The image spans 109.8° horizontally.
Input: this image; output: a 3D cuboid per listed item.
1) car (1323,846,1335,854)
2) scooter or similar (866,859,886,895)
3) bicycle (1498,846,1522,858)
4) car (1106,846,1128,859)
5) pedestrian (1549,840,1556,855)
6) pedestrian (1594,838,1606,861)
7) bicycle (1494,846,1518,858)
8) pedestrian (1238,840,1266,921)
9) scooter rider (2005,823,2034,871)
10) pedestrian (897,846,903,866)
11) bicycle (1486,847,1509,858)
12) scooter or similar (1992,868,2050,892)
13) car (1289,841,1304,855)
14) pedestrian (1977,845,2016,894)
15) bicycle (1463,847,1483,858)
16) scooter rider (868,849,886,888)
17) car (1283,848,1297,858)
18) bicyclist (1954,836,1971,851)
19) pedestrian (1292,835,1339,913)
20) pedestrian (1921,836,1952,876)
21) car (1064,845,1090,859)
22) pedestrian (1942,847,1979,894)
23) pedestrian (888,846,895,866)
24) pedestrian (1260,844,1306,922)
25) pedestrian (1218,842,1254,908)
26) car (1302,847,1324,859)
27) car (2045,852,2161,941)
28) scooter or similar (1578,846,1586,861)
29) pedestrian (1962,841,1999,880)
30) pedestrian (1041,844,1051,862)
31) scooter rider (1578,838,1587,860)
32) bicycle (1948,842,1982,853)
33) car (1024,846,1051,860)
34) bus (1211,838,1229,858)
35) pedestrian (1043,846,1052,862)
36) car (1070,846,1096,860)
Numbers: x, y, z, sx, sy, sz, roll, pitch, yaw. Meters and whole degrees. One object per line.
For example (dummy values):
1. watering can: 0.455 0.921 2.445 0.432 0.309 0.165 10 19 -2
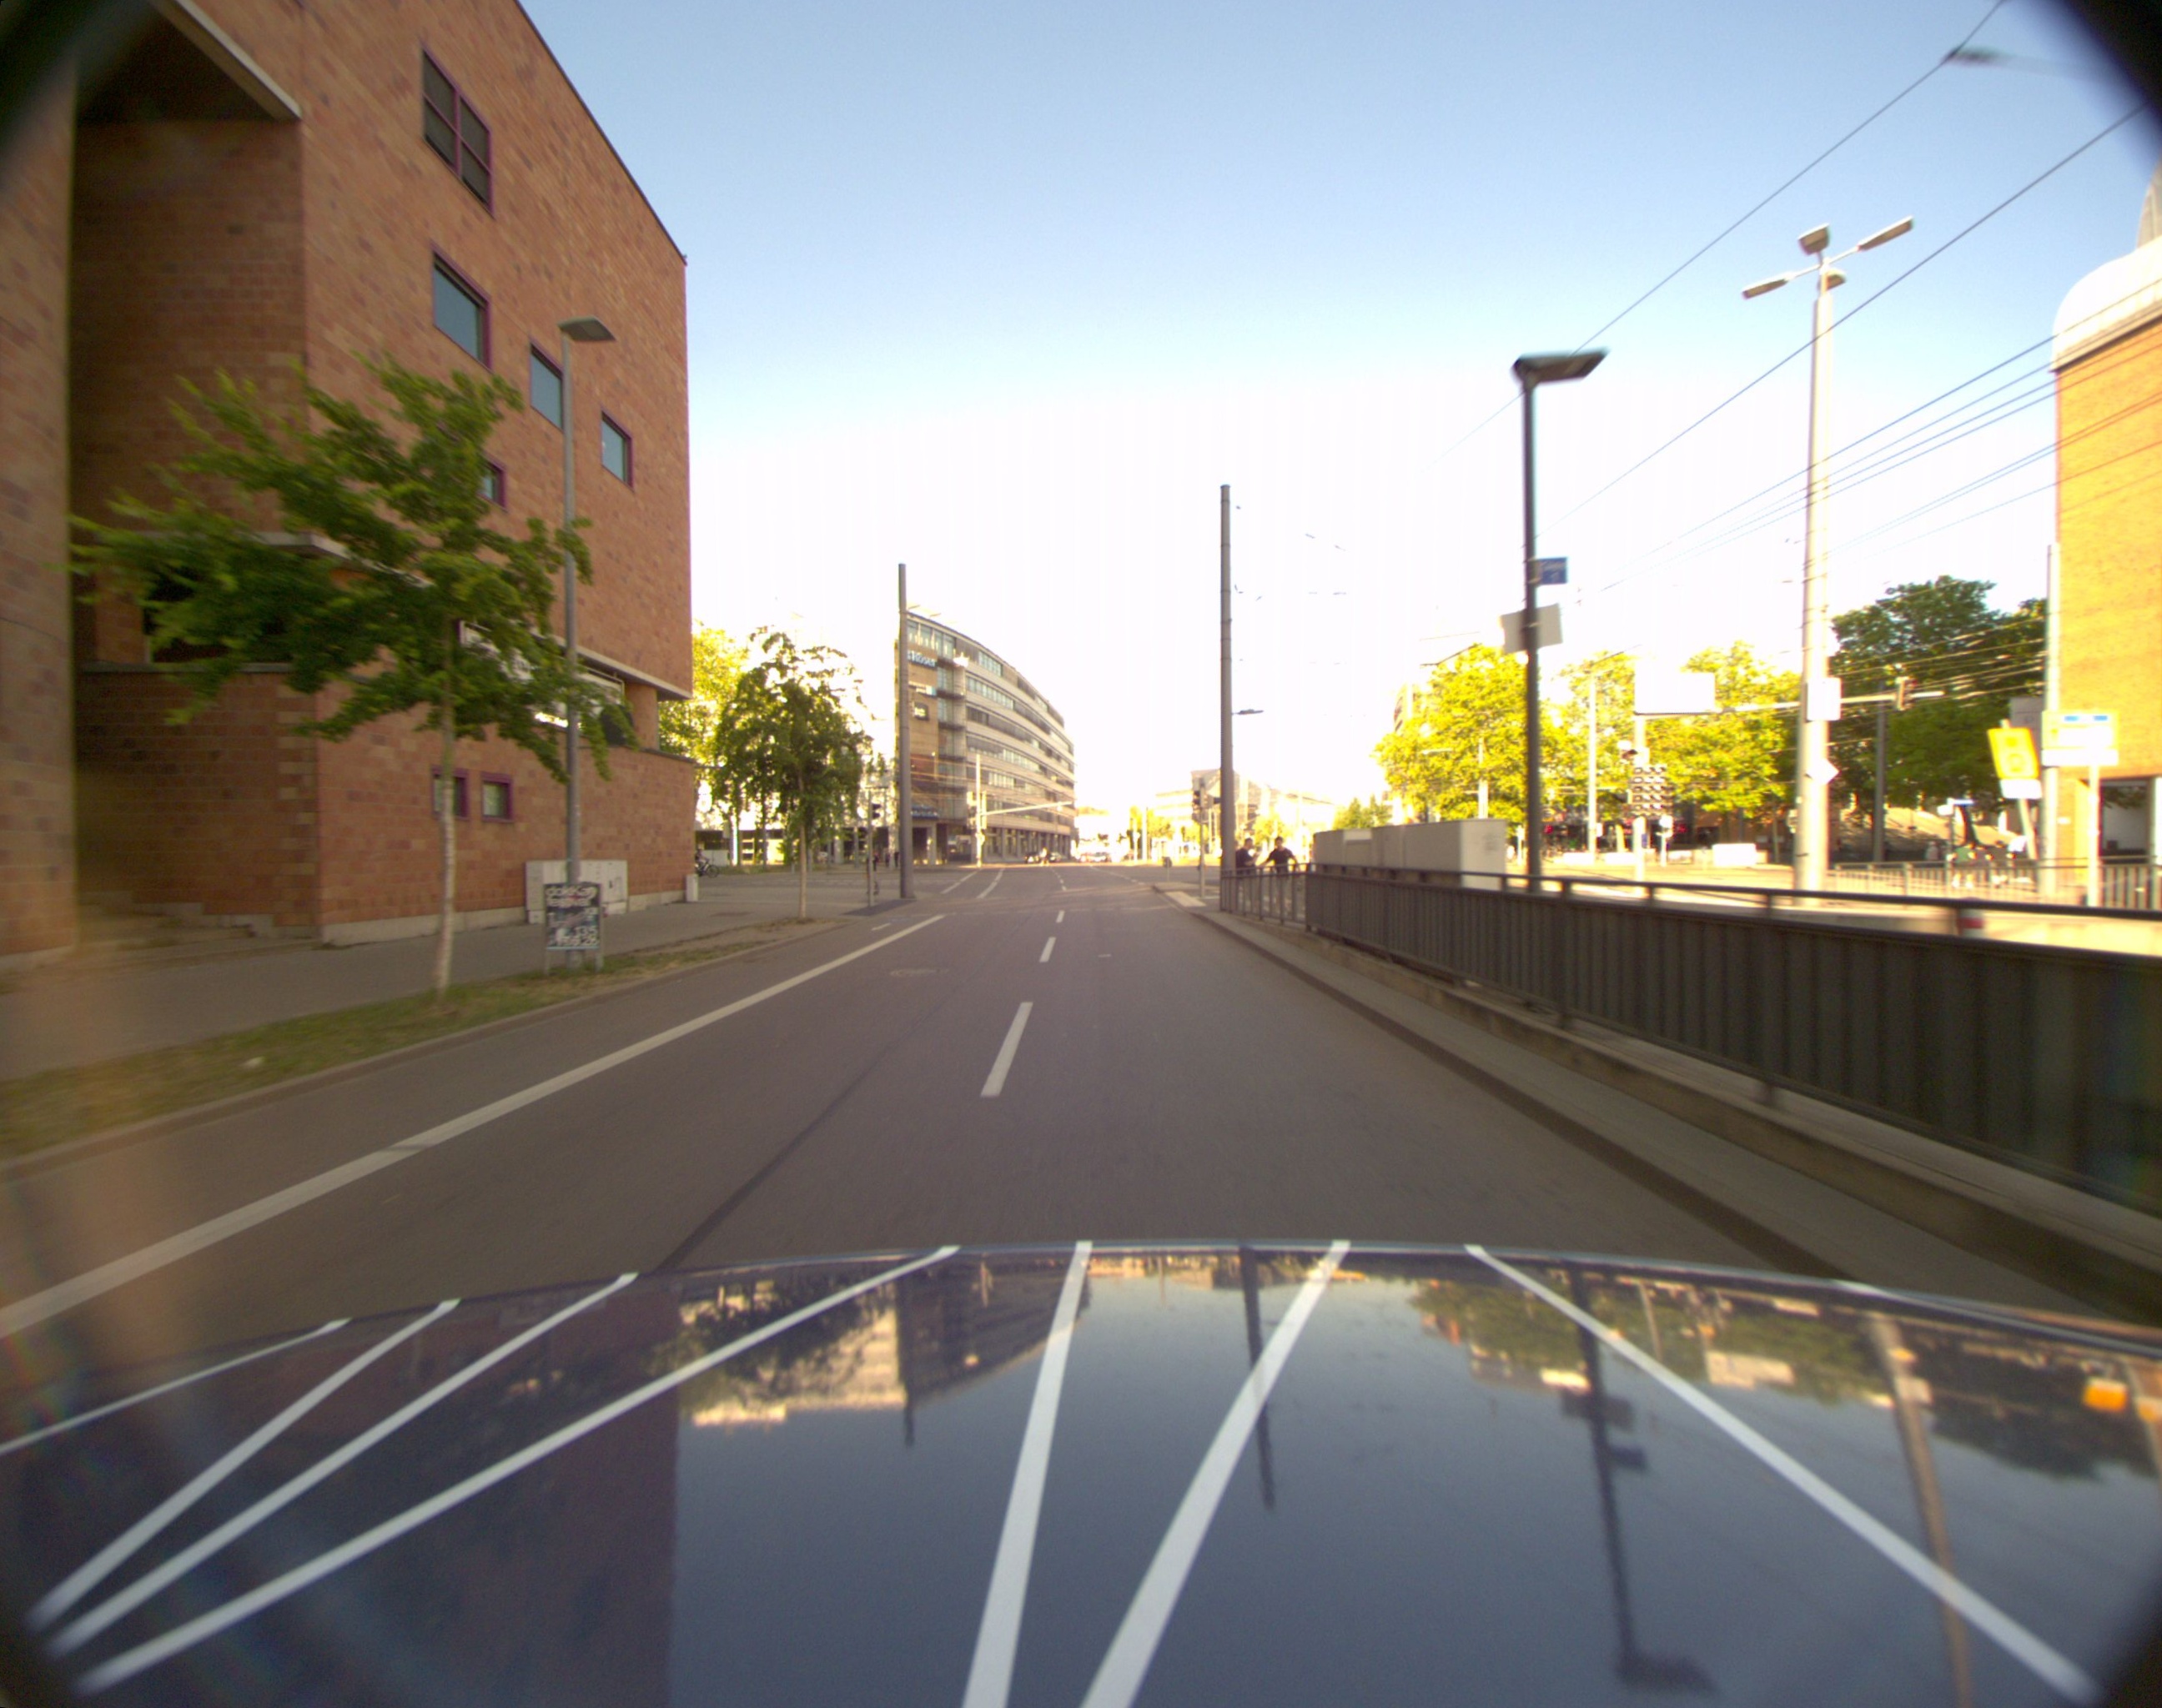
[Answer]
1. car: 49.113 -0.769 150.572 1.862 1.622 4.267 0 0 12
2. scooter or similar: -7.659 0.842 28.473 0.529 1.310 1.132 -1 1 -6
3. bicycle: 40.815 -0.157 72.282 1.841 1.123 0.776 0 1 7
4. car: 4.581 -0.129 96.236 1.900 1.612 4.177 0 0 17
5. pedestrian: 53.508 -0.767 86.238 0.542 1.660 0.572 1 2 41
6. pedestrian: 42.147 -0.372 61.681 0.671 1.786 0.570 0 2 24
7. bicycle: 40.915 -0.153 73.135 1.841 1.123 0.776 0 1 7
8. pedestrian: 3.330 0.497 14.759 0.490 1.530 0.552 0 1 17
9. scooter rider: 34.646 -0.252 28.051 0.569 1.745 0.535 1 2 42
10. pedestrian: -16.784 0.172 70.388 0.547 1.813 0.374 -1 1 -11
11. bicycle: 41.190 -0.145 75.087 1.841 1.123 0.776 0 1 7
12. scooter or similar: 34.678 0.955 28.049 1.235 0.826 0.546 0 1 41
13. car: 41.181 -1.095 145.183 1.995 2.465 5.985 0 0 25
14. pedestrian: 32.455 0.537 26.941 0.640 1.708 0.779 0 1 30
15. bicycle: 39.525 -0.162 76.601 1.696 1.030 0.549 0 1 12
16. scooter rider: -7.672 0.528 28.581 0.507 1.452 0.721 -1 1 -7
17. car: 30.672 -0.145 111.555 1.634 1.443 4.003 0 0 9
18. bicyclist: 82.923 -0.977 71.477 0.956 1.337 0.676 1 2 38
19. pedestrian: 5.241 0.428 16.976 0.643 1.708 0.776 -1 2 -39
20. pedestrian: 40.842 0.075 36.294 0.744 1.884 0.649 0 2 23
21. car: -0.419 -0.198 87.291 1.900 1.612 3.871 0 0 17
22. pedestrian: 32.583 0.590 28.155 0.640 1.708 0.779 0 1 30
23. pedestrian: -17.513 0.176 70.252 0.589 1.813 0.544 -1 1 -11
24. pedestrian: 4.089 0.570 15.394 0.715 1.530 0.851 0 1 1
25. pedestrian: 4.061 0.541 19.908 0.625 1.692 0.748 -1 1 -20
26. car: 27.585 -0.124 90.522 1.690 1.419 4.001 0 0 4
27. car: 18.288 0.682 11.727 1.761 1.439 4.000 0 0 0
28. scooter or similar: 40.975 -0.065 62.109 0.454 1.172 1.162 0 1 29
29. pedestrian: 36.594 0.260 30.916 0.545 1.544 0.870 0 1 12
30. pedestrian: -3.546 -0.115 76.715 0.965 1.832 0.699 0 1 6
31. scooter rider: 40.966 -0.390 62.069 0.587 1.822 0.765 0 2 28
32. bicycle: 83.029 -0.591 71.396 2.009 1.061 0.697 0 1 38
33. car: -5.089 -0.137 89.614 1.900 1.612 4.177 0 0 17
34. bus: 24.676 -1.045 135.304 2.723 3.388 9.675 0 0 8
35. pedestrian: -3.417 -0.016 77.450 0.845 1.678 0.648 0 1 6
36. car: 0.277 -0.153 91.656 1.900 1.612 4.177 0 0 17
